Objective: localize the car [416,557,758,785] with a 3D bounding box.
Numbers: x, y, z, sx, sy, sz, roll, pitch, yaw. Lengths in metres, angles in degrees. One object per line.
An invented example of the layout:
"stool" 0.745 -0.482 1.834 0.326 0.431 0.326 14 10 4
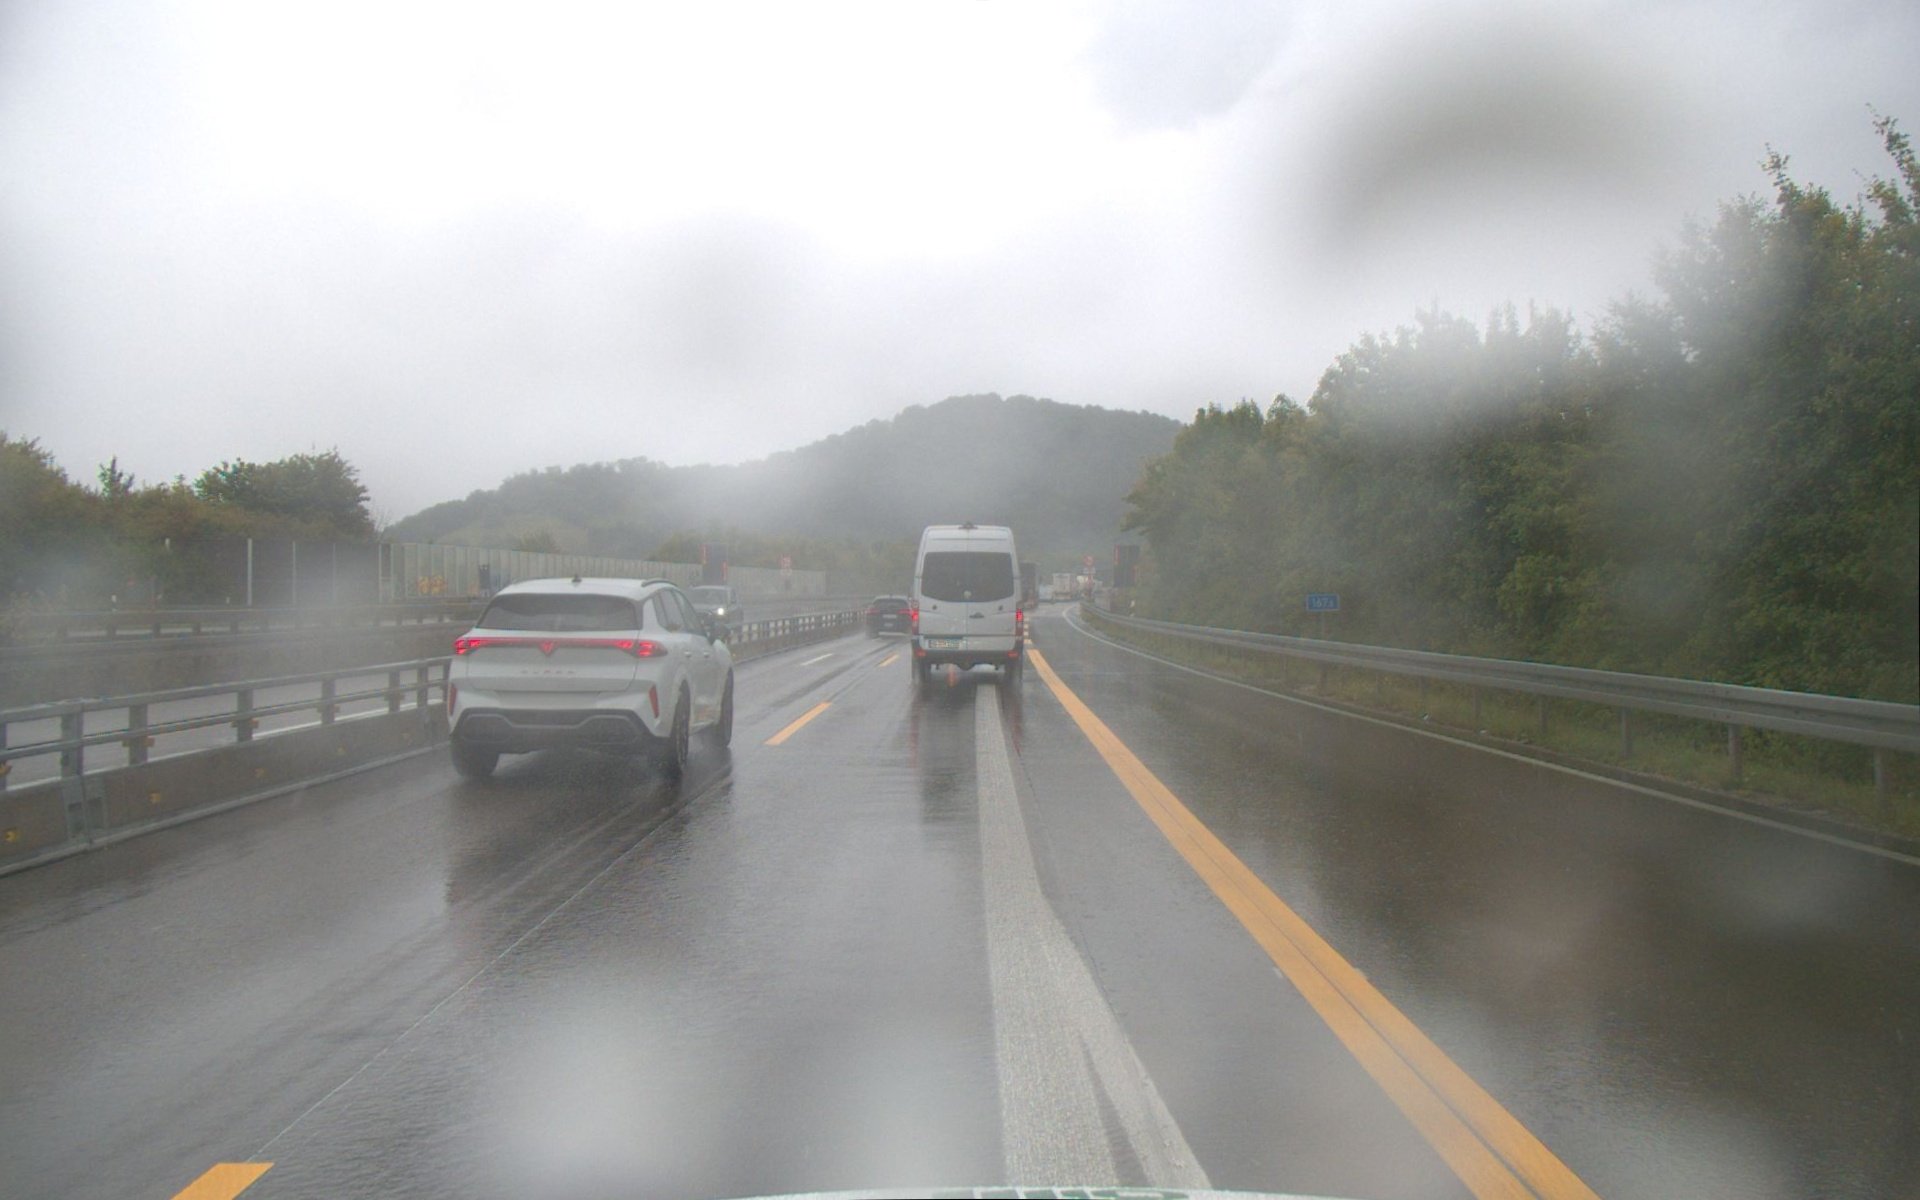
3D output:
"car" -3.039 0.525 14.589 1.953 1.646 4.795 1 0 -1

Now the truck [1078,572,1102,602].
"truck" 20.550 -1.995 260.768 2.836 4.483 9.632 1 0 10

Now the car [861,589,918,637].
"car" -2.468 0.441 57.772 1.908 1.588 3.998 1 0 -3

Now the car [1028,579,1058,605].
"car" 9.603 -0.862 191.689 2.836 2.938 6.416 1 0 8

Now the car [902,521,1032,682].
"car" 0.100 0.026 30.026 2.101 2.616 5.389 1 0 0

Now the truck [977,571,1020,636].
"truck" 2.064 0.200 85.740 1.952 3.163 8.501 1 0 3

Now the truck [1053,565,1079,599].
"truck" 14.711 -2.403 228.193 2.971 4.483 9.631 1 0 7

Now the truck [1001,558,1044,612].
"truck" 5.485 -1.260 144.311 3.506 4.483 9.627 1 0 3

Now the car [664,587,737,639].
"car" -8.602 0.407 55.130 1.742 1.632 4.316 1 0 0
